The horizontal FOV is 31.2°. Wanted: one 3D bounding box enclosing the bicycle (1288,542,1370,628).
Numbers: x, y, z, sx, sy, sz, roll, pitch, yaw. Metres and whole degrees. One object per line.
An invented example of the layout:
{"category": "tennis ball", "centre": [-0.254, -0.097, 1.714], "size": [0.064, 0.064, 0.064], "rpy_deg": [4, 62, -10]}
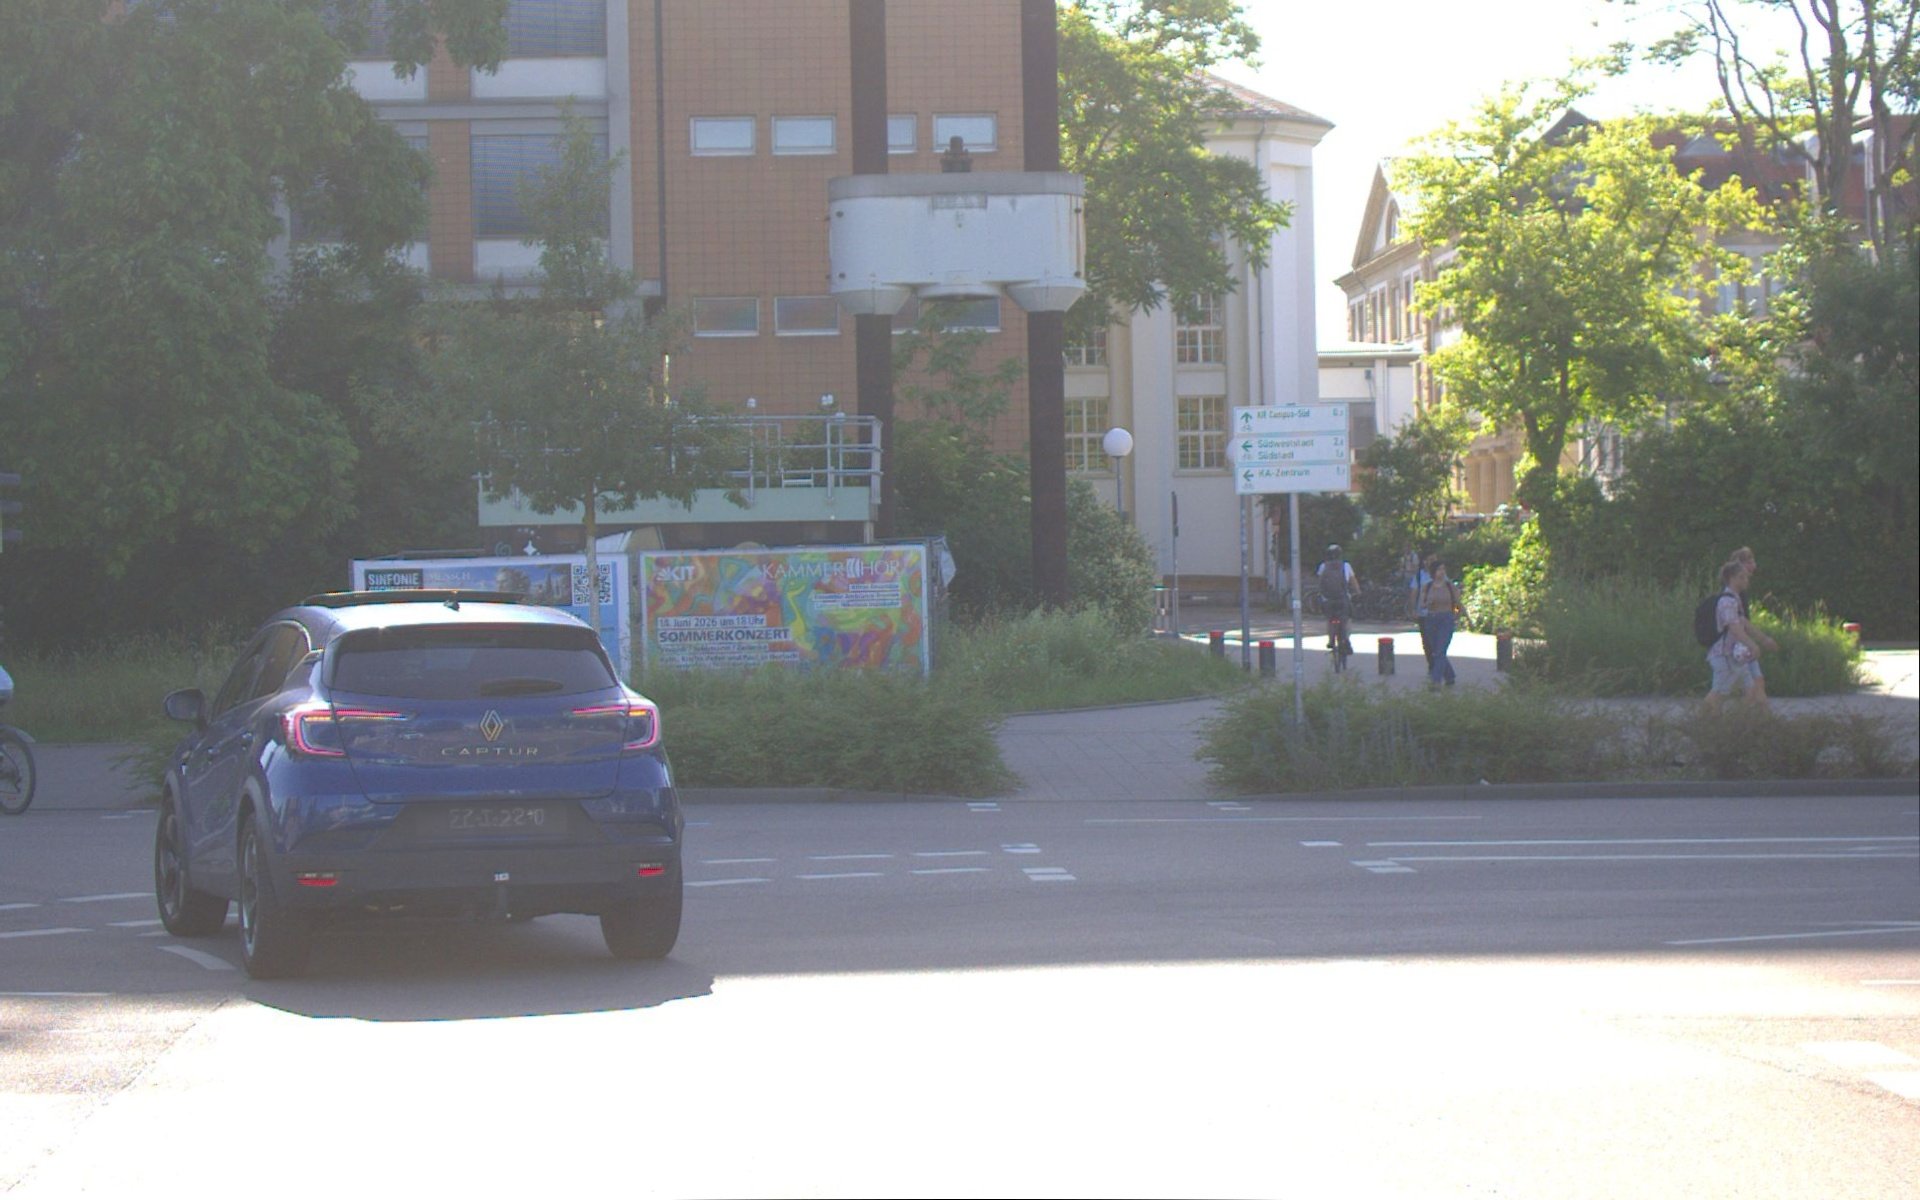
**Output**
{"category": "bicycle", "centre": [5.128, -0.217, 47.718], "size": [0.746, 1.161, 1.868], "rpy_deg": [-1, 1, 18]}

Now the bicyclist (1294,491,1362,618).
{"category": "bicyclist", "centre": [5.115, -0.634, 47.707], "size": [0.720, 1.729, 0.977], "rpy_deg": [-1, 1, 19]}

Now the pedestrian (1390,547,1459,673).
{"category": "pedestrian", "centre": [6.128, 0.124, 45.333], "size": [0.676, 1.637, 0.735], "rpy_deg": [1, 0, 25]}

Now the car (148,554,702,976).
{"category": "car", "centre": [-2.544, 0.749, 15.524], "size": [1.876, 1.612, 3.798], "rpy_deg": [-1, -3, -18]}

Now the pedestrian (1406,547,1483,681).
{"category": "pedestrian", "centre": [5.991, 0.171, 42.505], "size": [0.677, 1.637, 0.734], "rpy_deg": [1, 0, 31]}

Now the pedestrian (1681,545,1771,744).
{"category": "pedestrian", "centre": [7.104, 0.404, 31.864], "size": [0.734, 1.810, 0.731], "rpy_deg": [1, 0, 16]}

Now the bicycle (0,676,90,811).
{"category": "bicycle", "centre": [-8.865, 1.284, 31.079], "size": [1.866, 1.161, 0.717], "rpy_deg": [-1, 1, 23]}

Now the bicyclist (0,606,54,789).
{"category": "bicyclist", "centre": [-8.823, 0.874, 31.053], "size": [0.976, 1.611, 0.721], "rpy_deg": [-1, 1, 24]}

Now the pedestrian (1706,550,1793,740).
{"category": "pedestrian", "centre": [7.499, 0.419, 32.655], "size": [0.734, 1.776, 0.731], "rpy_deg": [1, 0, 16]}
